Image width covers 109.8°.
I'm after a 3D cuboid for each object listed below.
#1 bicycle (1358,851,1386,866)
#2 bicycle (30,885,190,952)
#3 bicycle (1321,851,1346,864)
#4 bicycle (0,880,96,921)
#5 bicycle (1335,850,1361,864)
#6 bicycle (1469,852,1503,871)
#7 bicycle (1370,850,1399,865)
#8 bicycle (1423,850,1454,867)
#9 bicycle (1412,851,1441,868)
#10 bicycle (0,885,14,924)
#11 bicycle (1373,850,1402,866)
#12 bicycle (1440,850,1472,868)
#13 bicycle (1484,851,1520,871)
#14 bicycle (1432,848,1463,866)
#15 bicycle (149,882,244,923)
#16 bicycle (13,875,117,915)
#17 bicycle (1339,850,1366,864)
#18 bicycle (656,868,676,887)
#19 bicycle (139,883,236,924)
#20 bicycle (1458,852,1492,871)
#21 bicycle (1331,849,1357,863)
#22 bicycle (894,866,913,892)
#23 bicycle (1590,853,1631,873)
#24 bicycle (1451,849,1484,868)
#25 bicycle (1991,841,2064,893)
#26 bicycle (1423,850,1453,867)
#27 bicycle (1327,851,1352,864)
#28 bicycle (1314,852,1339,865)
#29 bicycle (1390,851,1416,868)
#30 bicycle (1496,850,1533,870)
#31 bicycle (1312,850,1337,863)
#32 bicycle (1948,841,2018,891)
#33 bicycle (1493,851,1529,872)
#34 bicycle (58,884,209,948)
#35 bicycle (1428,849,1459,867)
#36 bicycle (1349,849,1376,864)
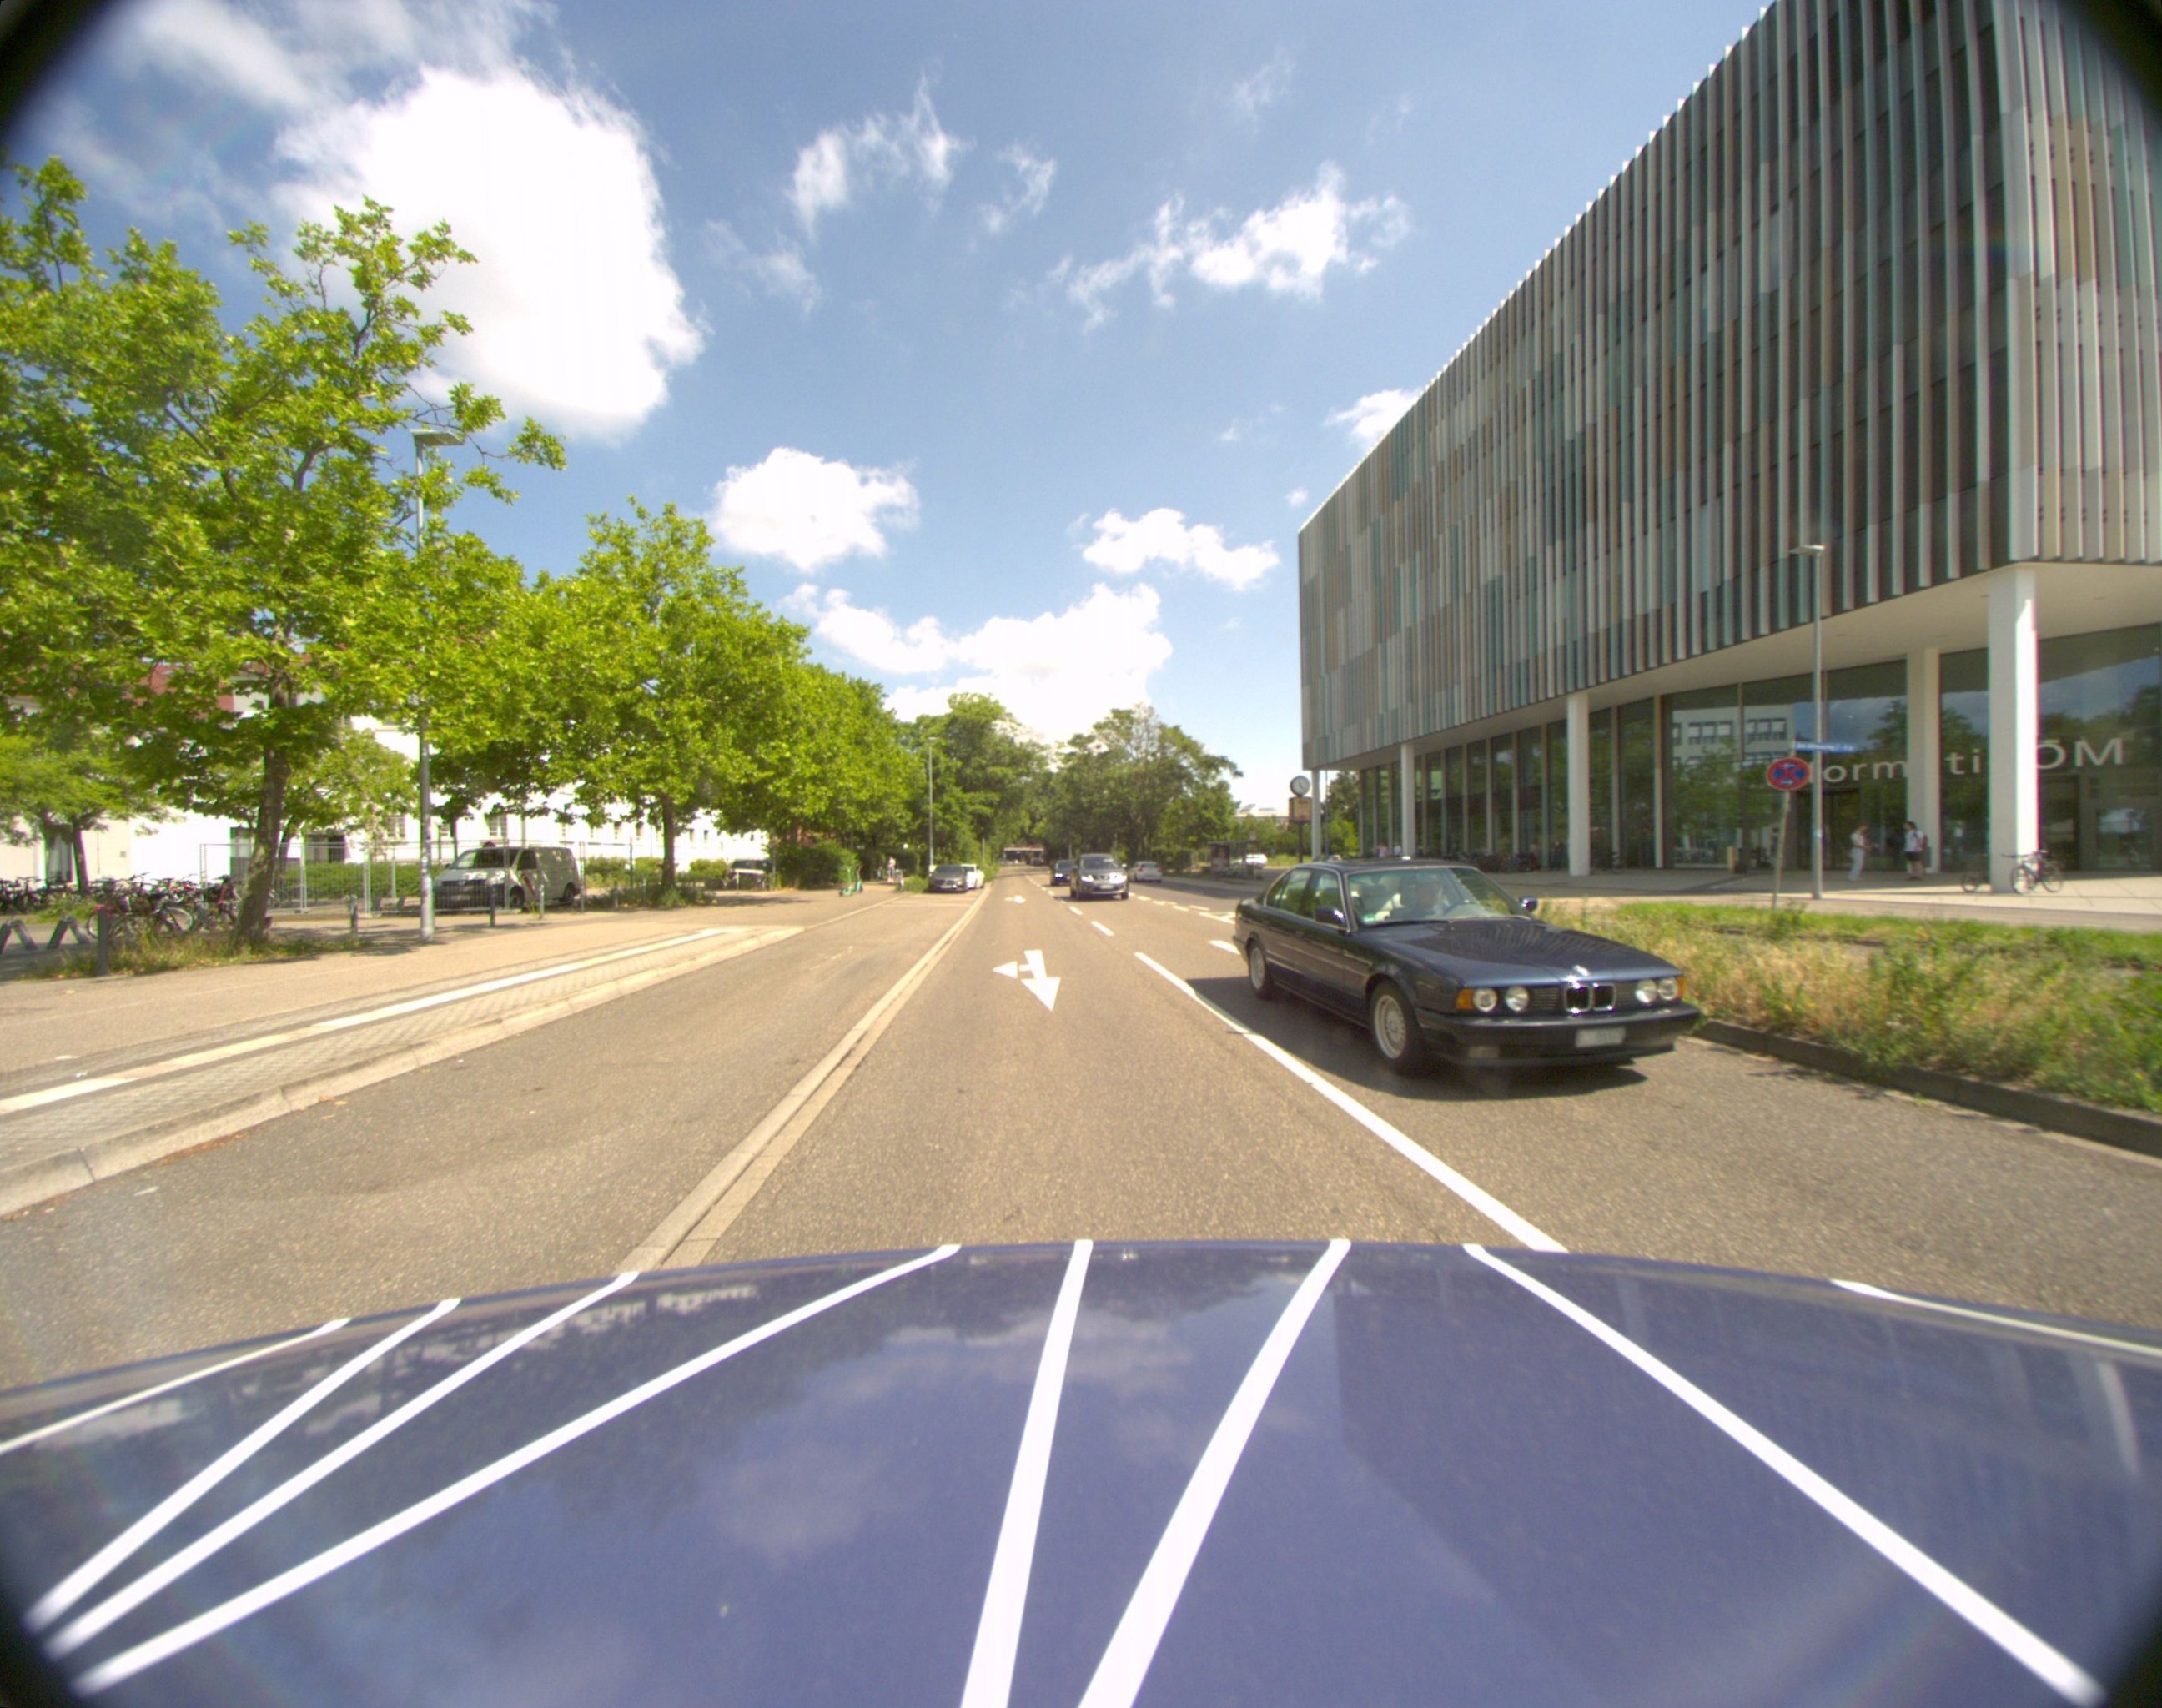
[{"bbox_3d":[20.506,0.322,53.593,1.785,0.950,0.433,-3,1,-6],"label":"bicycle"},{"bbox_3d":[-18.821,1.224,14.794,1.770,1.092,0.602,-4,1,-36],"label":"bicycle"},{"bbox_3d":[19.756,0.296,59.455,1.785,0.950,0.433,-3,1,-6],"label":"bicycle"},{"bbox_3d":[-31.137,1.374,22.798,1.770,1.092,0.602,-4,1,-37],"label":"bicycle"},{"bbox_3d":[20.064,0.208,57.059,1.785,0.950,0.433,-3,1,-6],"label":"bicycle"},{"bbox_3d":[21.558,0.383,40.473,1.544,0.950,0.374,-3,1,9],"label":"bicycle"},{"bbox_3d":[20.886,0.247,52.300,1.785,0.950,0.433,-3,1,-6],"label":"bicycle"},{"bbox_3d":[21.094,0.278,44.832,1.544,0.950,0.374,-3,1,9],"label":"bicycle"},{"bbox_3d":[21.106,0.343,46.463,1.544,0.950,0.374,-3,1,9],"label":"bicycle"},{"bbox_3d":[-31.398,1.472,21.186,1.770,1.092,0.602,-4,1,-37],"label":"bicycle"},{"bbox_3d":[20.651,0.276,51.138,1.785,0.950,0.433,-3,1,-6],"label":"bicycle"},{"bbox_3d":[21.077,0.293,42.721,1.544,0.950,0.374,-3,1,9],"label":"bicycle"},{"bbox_3d":[21.787,0.383,39.317,1.544,0.950,0.374,-3,1,9],"label":"bicycle"},{"bbox_3d":[21.045,0.185,43.654,1.544,0.950,0.374,-3,1,9],"label":"bicycle"},{"bbox_3d":[-27.327,1.492,23.522,1.770,1.092,0.591,-4,1,-37],"label":"bicycle"},{"bbox_3d":[-31.352,1.242,23.485,1.770,1.092,0.602,-4,1,-37],"label":"bicycle"},{"bbox_3d":[20.018,0.194,56.040,1.785,0.950,0.433,-3,1,-6],"label":"bicycle"},{"bbox_3d":[-25.482,1.424,46.687,0.608,1.131,1.586,0,1,-9],"label":"bicycle"},{"bbox_3d":[-26.998,1.480,22.999,1.770,1.092,0.515,-4,1,-37],"label":"bicycle"},{"bbox_3d":[21.258,0.393,41.011,1.544,0.950,0.374,-3,1,9],"label":"bicycle"},{"bbox_3d":[19.988,0.149,57.683,1.785,0.950,0.433,-3,1,-6],"label":"bicycle"},{"bbox_3d":[-8.484,1.170,36.334,0.639,1.183,2.118,0,0,-6],"label":"bicycle"},{"bbox_3d":[22.899,0.393,32.861,1.545,0.771,0.373,-3,1,-2],"label":"bicycle"},{"bbox_3d":[21.205,0.234,41.659,1.544,0.950,0.374,-3,1,9],"label":"bicycle"},{"bbox_3d":[23.360,0.313,18.757,1.546,1.180,0.373,-3,2,-7],"label":"bicycle"},{"bbox_3d":[21.233,0.247,45.235,1.544,0.950,0.374,-3,1,9],"label":"bicycle"},{"bbox_3d":[19.891,0.272,58.440,1.785,0.950,0.433,-3,1,-6],"label":"bicycle"},{"bbox_3d":[19.539,0.352,60.493,1.785,0.950,0.433,-3,1,-6],"label":"bicycle"},{"bbox_3d":[19.980,0.349,47.185,1.547,0.950,0.373,-3,1,-17],"label":"bicycle"},{"bbox_3d":[21.720,0.304,38.046,1.544,0.950,0.374,-3,1,9],"label":"bicycle"},{"bbox_3d":[19.611,0.217,61.204,1.785,0.950,0.433,-3,1,-6],"label":"bicycle"},{"bbox_3d":[23.122,0.302,19.477,1.546,1.180,0.373,-3,2,-7],"label":"bicycle"},{"bbox_3d":[21.838,0.388,38.621,1.544,0.950,0.374,-3,1,9],"label":"bicycle"},{"bbox_3d":[-19.150,1.225,15.416,1.770,1.092,0.602,-4,1,-36],"label":"bicycle"},{"bbox_3d":[21.098,0.227,44.209,1.544,0.950,0.374,-3,1,9],"label":"bicycle"},{"bbox_3d":[20.254,0.196,54.629,1.785,0.950,0.433,-3,1,-6],"label":"bicycle"}]
